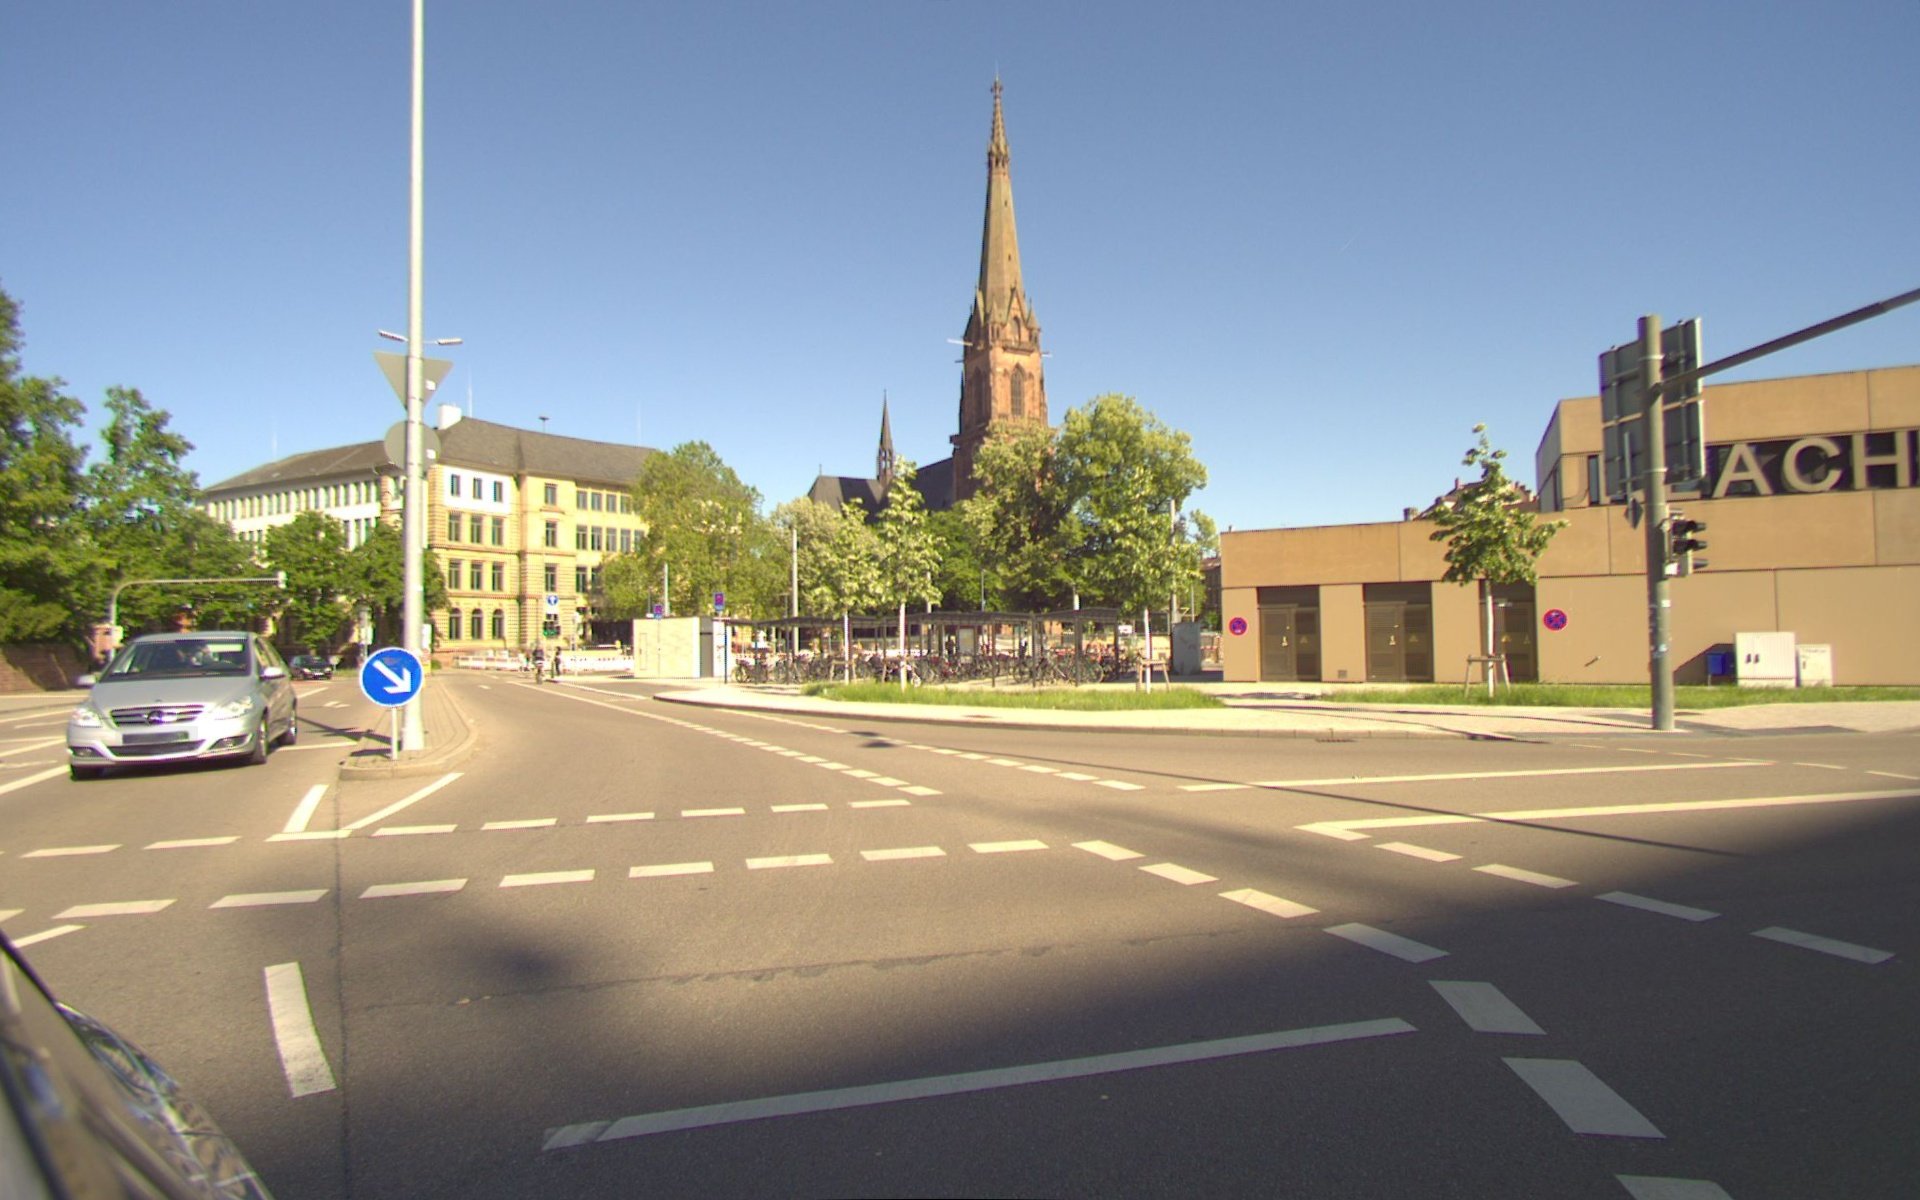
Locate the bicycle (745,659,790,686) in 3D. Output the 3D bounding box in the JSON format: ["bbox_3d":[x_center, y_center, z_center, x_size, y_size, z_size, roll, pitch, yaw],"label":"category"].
[{"bbox_3d":[-7.793,2.920,40.914,1.777,1.046,0.563,-2,-4,25],"label":"bicycle"}]

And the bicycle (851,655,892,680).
[{"bbox_3d":[-3.897,2.956,44.434,1.777,1.046,0.563,-2,-4,25],"label":"bicycle"}]

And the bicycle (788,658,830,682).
[{"bbox_3d":[-6.560,3.029,43.862,1.777,1.046,0.563,-2,-4,25],"label":"bicycle"}]

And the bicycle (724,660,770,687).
[{"bbox_3d":[-8.353,2.879,39.634,1.777,1.046,0.563,-2,-4,25],"label":"bicycle"}]

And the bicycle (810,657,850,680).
[{"bbox_3d":[-5.838,3.065,45.488,1.777,1.046,0.563,-2,-4,25],"label":"bicycle"}]

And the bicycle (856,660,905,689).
[{"bbox_3d":[-2.910,2.728,37.034,1.777,1.046,0.563,-2,-4,25],"label":"bicycle"}]

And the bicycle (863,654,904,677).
[{"bbox_3d":[-3.440,2.954,45.599,1.777,1.046,0.563,-2,-4,25],"label":"bicycle"}]

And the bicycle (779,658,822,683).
[{"bbox_3d":[-6.812,3.012,43.251,1.777,1.046,0.563,-2,-4,25],"label":"bicycle"}]

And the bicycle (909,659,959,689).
[{"bbox_3d":[-0.959,2.683,36.873,1.777,1.046,0.563,-2,-4,25],"label":"bicycle"}]

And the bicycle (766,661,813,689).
[{"bbox_3d":[-6.540,2.861,38.767,1.777,1.046,0.563,-2,-4,25],"label":"bicycle"}]

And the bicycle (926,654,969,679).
[{"bbox_3d":[-0.518,2.817,43.082,1.777,1.046,0.563,-2,-4,25],"label":"bicycle"}]

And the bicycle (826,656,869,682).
[{"bbox_3d":[-4.742,2.904,42.711,1.777,1.046,0.563,-2,-4,25],"label":"bicycle"}]

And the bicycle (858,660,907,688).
[{"bbox_3d":[-2.875,2.741,37.656,1.777,1.046,0.563,-2,-4,25],"label":"bicycle"}]

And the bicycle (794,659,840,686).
[{"bbox_3d":[-5.723,2.891,40.475,1.777,1.046,0.563,-2,-4,25],"label":"bicycle"}]

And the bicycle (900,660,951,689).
[{"bbox_3d":[-1.232,2.659,36.273,1.777,1.046,0.563,-2,-4,25],"label":"bicycle"}]

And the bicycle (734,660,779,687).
[{"bbox_3d":[-8.091,2.928,40.224,1.777,1.046,0.563,-2,-4,25],"label":"bicycle"}]

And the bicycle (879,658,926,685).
[{"bbox_3d":[-2.247,2.787,39.408,1.777,1.046,0.563,-2,-4,25],"label":"bicycle"}]

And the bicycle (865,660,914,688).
[{"bbox_3d":[-2.670,2.777,38.198,1.777,1.046,0.563,-2,-4,25],"label":"bicycle"}]

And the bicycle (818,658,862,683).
[{"bbox_3d":[-4.993,2.930,42.126,1.777,1.046,0.563,-2,-4,25],"label":"bicycle"}]

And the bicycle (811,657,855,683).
[{"bbox_3d":[-5.233,2.874,41.581,1.777,1.046,0.563,-2,-4,25],"label":"bicycle"}]

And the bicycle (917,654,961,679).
[{"bbox_3d":[-0.874,2.786,42.450,1.777,1.046,0.563,-2,-4,25],"label":"bicycle"}]

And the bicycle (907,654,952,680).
[{"bbox_3d":[-1.267,2.747,41.677,1.777,1.046,0.563,-2,-4,25],"label":"bicycle"}]

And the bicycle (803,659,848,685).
[{"bbox_3d":[-5.466,2.910,41.014,1.777,1.046,0.563,-2,-4,25],"label":"bicycle"}]

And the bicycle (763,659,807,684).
[{"bbox_3d":[-7.278,2.961,42.119,1.777,1.046,0.563,-2,-4,25],"label":"bicycle"}]

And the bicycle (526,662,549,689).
[{"bbox_3d":[-18.537,3.300,44.351,0.735,1.174,1.876,2,-4,-28],"label":"bicycle"}]

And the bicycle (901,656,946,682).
[{"bbox_3d":[-1.493,2.808,41.127,1.777,1.046,0.563,-2,-4,25],"label":"bicycle"}]

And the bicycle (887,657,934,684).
[{"bbox_3d":[-1.962,2.775,40.016,1.777,1.046,0.563,-2,-4,25],"label":"bicycle"}]

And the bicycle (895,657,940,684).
[{"bbox_3d":[-1.709,2.826,40.571,1.777,1.046,0.563,-2,-4,25],"label":"bicycle"}]

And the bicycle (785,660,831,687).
[{"bbox_3d":[-5.996,2.887,39.931,1.777,1.046,0.563,-2,-4,25],"label":"bicycle"}]

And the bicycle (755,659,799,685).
[{"bbox_3d":[-7.516,2.935,41.539,1.777,1.046,0.563,-2,-4,25],"label":"bicycle"}]
